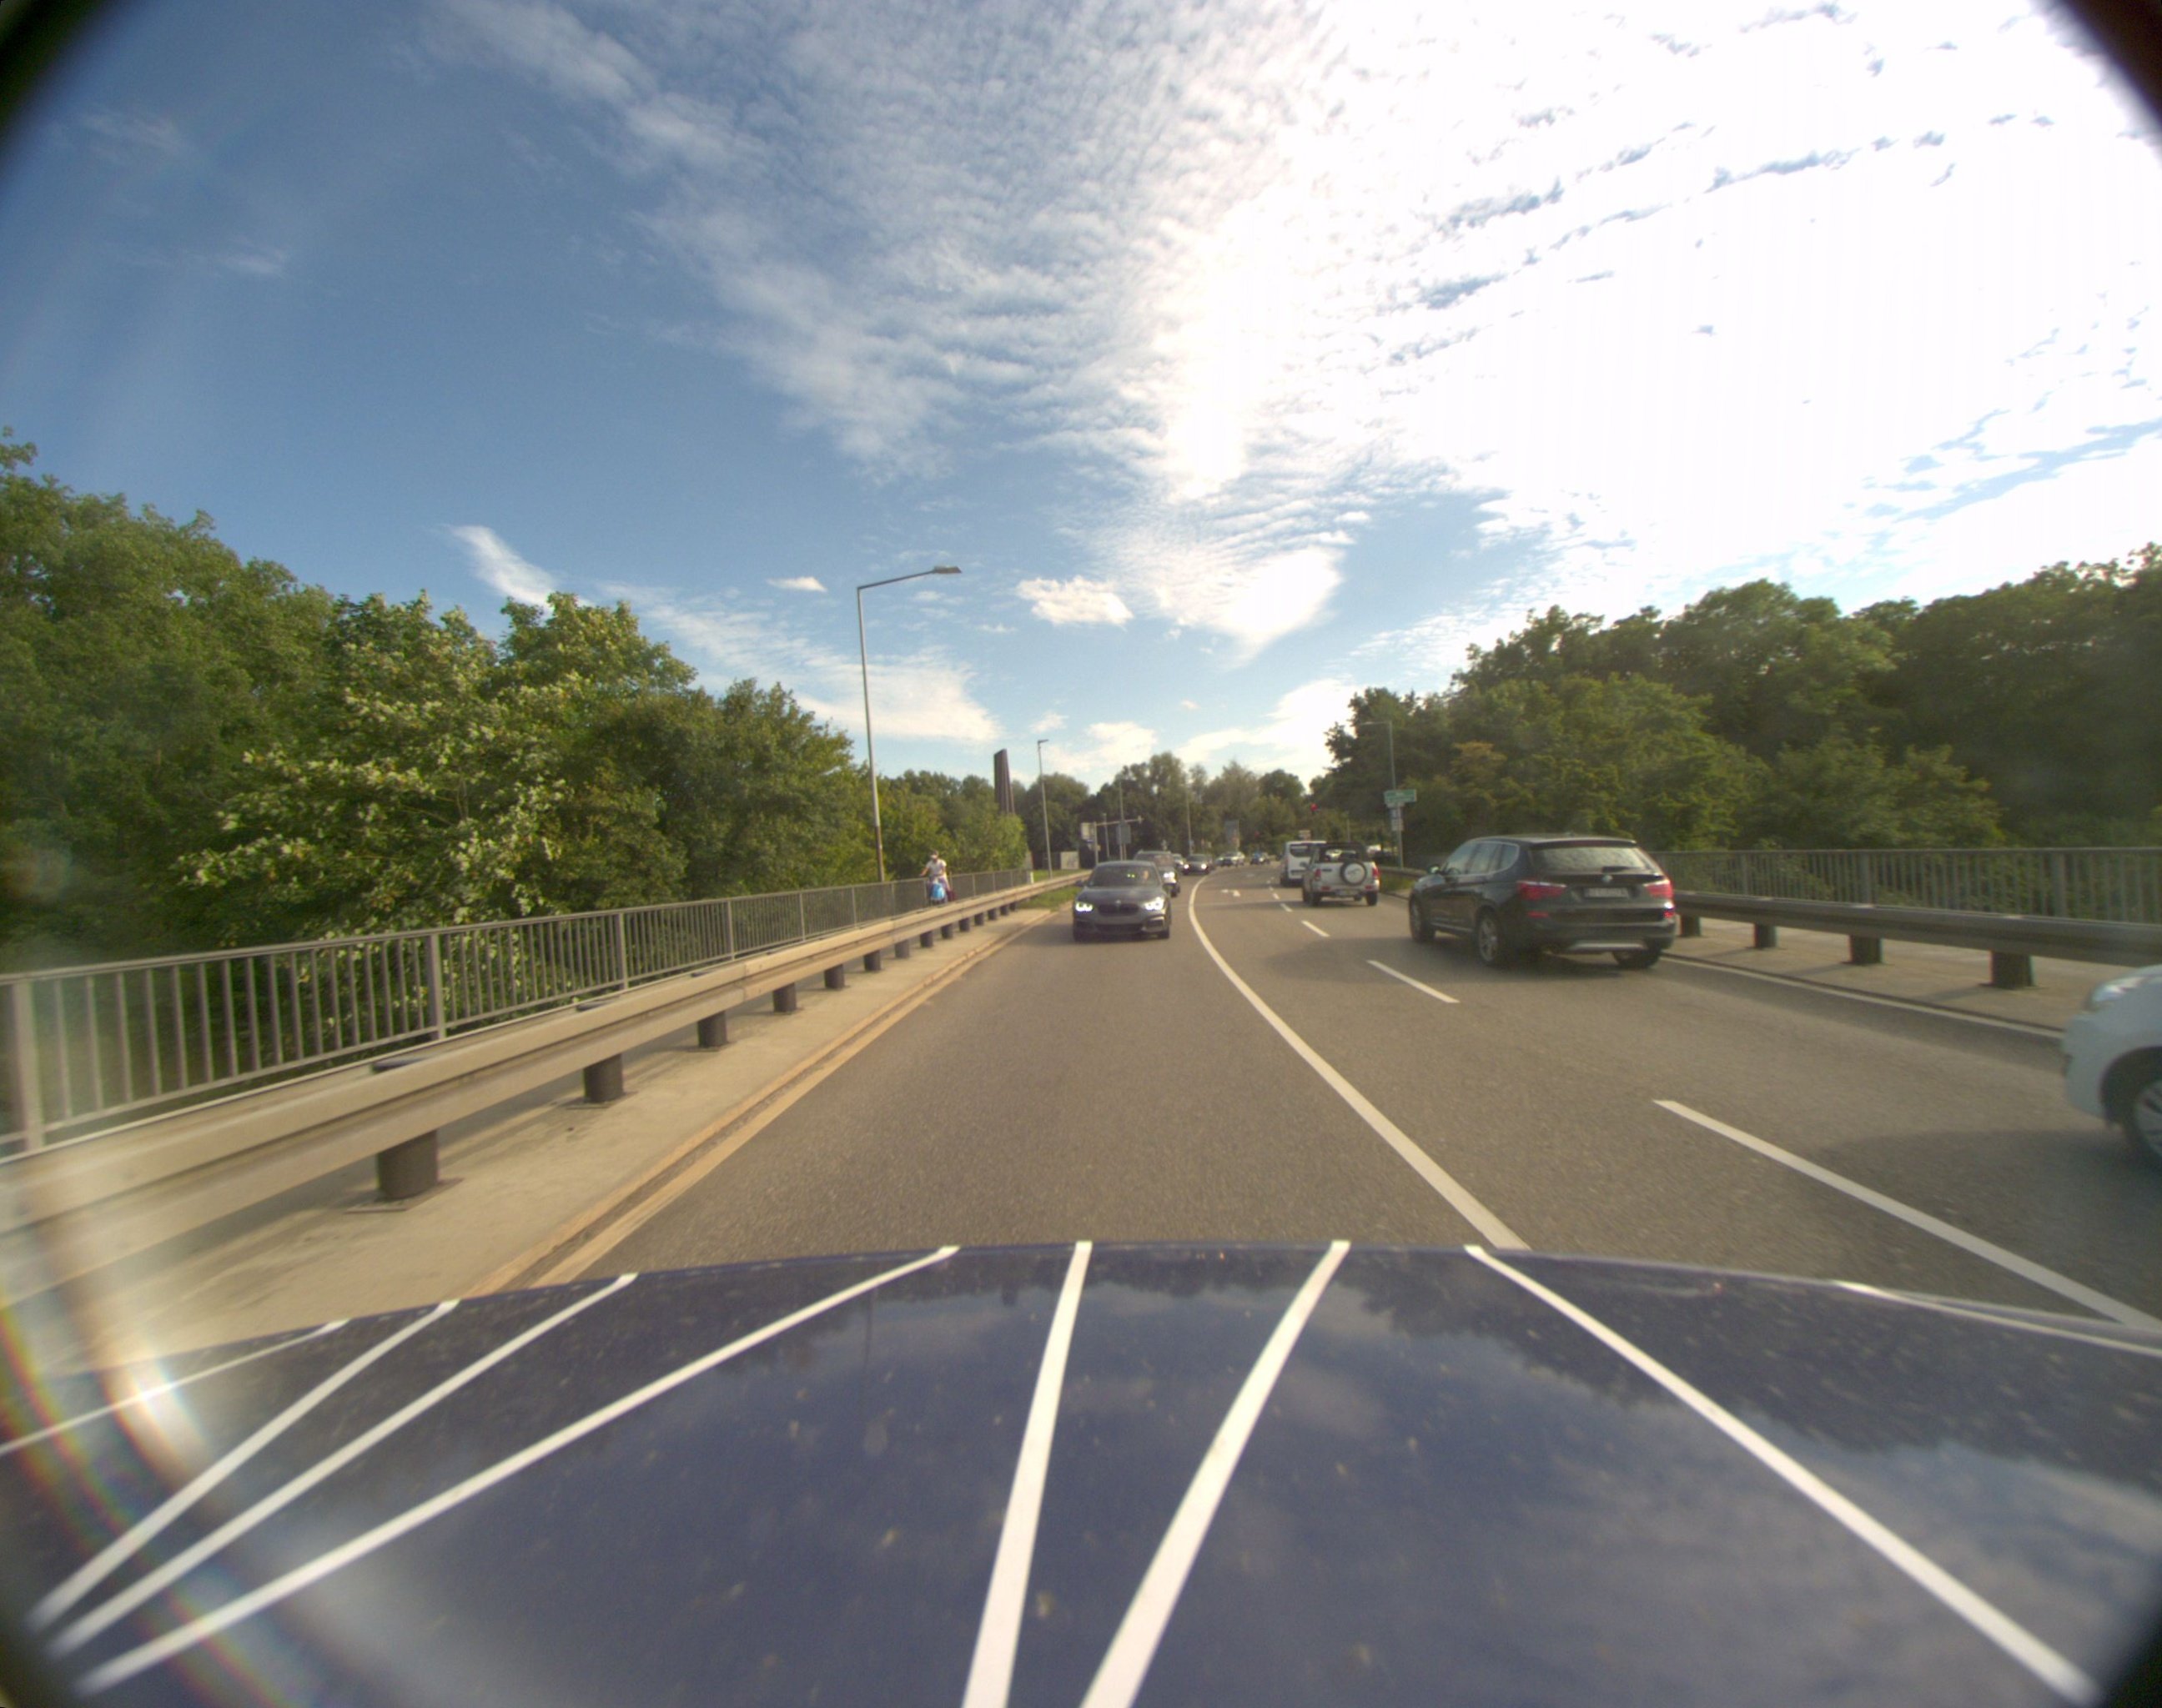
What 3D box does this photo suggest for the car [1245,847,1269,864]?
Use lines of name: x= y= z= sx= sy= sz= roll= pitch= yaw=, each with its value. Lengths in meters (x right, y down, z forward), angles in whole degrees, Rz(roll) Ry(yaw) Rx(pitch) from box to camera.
car: x=21.438 y=0.180 z=92.501 sx=1.995 sy=2.002 sz=4.279 roll=-1 pitch=1 yaw=24

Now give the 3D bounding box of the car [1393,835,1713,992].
car: x=6.035 y=0.643 z=10.514 sx=1.873 sy=1.656 sz=4.631 roll=-2 pitch=0 yaw=5

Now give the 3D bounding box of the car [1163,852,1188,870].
car: x=7.490 y=0.551 z=60.033 sx=1.689 sy=1.315 sz=3.787 roll=-2 pitch=1 yaw=11

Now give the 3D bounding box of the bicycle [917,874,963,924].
bicycle: x=-3.554 y=1.118 z=19.220 sx=0.597 sy=1.114 sz=1.697 roll=-2 pitch=1 yaw=8

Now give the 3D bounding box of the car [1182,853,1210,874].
car: x=7.935 y=0.619 z=52.197 sx=1.689 sy=1.315 sz=3.787 roll=-2 pitch=1 yaw=11

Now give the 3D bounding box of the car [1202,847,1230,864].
car: x=11.784 y=0.122 z=66.187 sx=1.688 sy=1.315 sz=3.789 roll=-2 pitch=1 yaw=20

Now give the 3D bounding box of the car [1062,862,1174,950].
car: x=0.866 y=0.916 z=14.859 sx=1.785 sy=1.396 sz=3.973 roll=-2 pitch=0 yaw=8

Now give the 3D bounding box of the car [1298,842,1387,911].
car: x=7.263 y=0.577 z=21.476 sx=1.777 sy=1.736 sz=3.840 roll=-2 pitch=0 yaw=10

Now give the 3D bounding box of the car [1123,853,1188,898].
car: x=2.862 y=0.742 z=28.347 sx=1.817 sy=1.498 sz=4.395 roll=-2 pitch=0 yaw=13

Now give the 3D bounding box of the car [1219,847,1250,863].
car: x=16.799 y=0.092 z=82.831 sx=1.995 sy=1.591 sz=4.288 roll=-1 pitch=1 yaw=30

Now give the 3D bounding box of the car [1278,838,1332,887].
car: x=9.810 y=0.338 z=33.577 sx=1.988 sy=1.953 sz=5.053 roll=-2 pitch=0 yaw=14

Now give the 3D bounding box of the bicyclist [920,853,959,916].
bicyclist: x=-3.568 y=0.752 z=19.217 sx=0.708 sy=1.548 sz=0.754 roll=-2 pitch=1 yaw=8

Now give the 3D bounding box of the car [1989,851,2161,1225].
car: x=5.269 y=0.762 z=1.780 sx=1.687 sy=1.536 sz=3.923 roll=-2 pitch=0 yaw=3

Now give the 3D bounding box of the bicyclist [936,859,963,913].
bicyclist: x=-3.418 y=0.825 z=19.745 sx=0.500 sy=1.364 sz=0.539 roll=-2 pitch=1 yaw=8
